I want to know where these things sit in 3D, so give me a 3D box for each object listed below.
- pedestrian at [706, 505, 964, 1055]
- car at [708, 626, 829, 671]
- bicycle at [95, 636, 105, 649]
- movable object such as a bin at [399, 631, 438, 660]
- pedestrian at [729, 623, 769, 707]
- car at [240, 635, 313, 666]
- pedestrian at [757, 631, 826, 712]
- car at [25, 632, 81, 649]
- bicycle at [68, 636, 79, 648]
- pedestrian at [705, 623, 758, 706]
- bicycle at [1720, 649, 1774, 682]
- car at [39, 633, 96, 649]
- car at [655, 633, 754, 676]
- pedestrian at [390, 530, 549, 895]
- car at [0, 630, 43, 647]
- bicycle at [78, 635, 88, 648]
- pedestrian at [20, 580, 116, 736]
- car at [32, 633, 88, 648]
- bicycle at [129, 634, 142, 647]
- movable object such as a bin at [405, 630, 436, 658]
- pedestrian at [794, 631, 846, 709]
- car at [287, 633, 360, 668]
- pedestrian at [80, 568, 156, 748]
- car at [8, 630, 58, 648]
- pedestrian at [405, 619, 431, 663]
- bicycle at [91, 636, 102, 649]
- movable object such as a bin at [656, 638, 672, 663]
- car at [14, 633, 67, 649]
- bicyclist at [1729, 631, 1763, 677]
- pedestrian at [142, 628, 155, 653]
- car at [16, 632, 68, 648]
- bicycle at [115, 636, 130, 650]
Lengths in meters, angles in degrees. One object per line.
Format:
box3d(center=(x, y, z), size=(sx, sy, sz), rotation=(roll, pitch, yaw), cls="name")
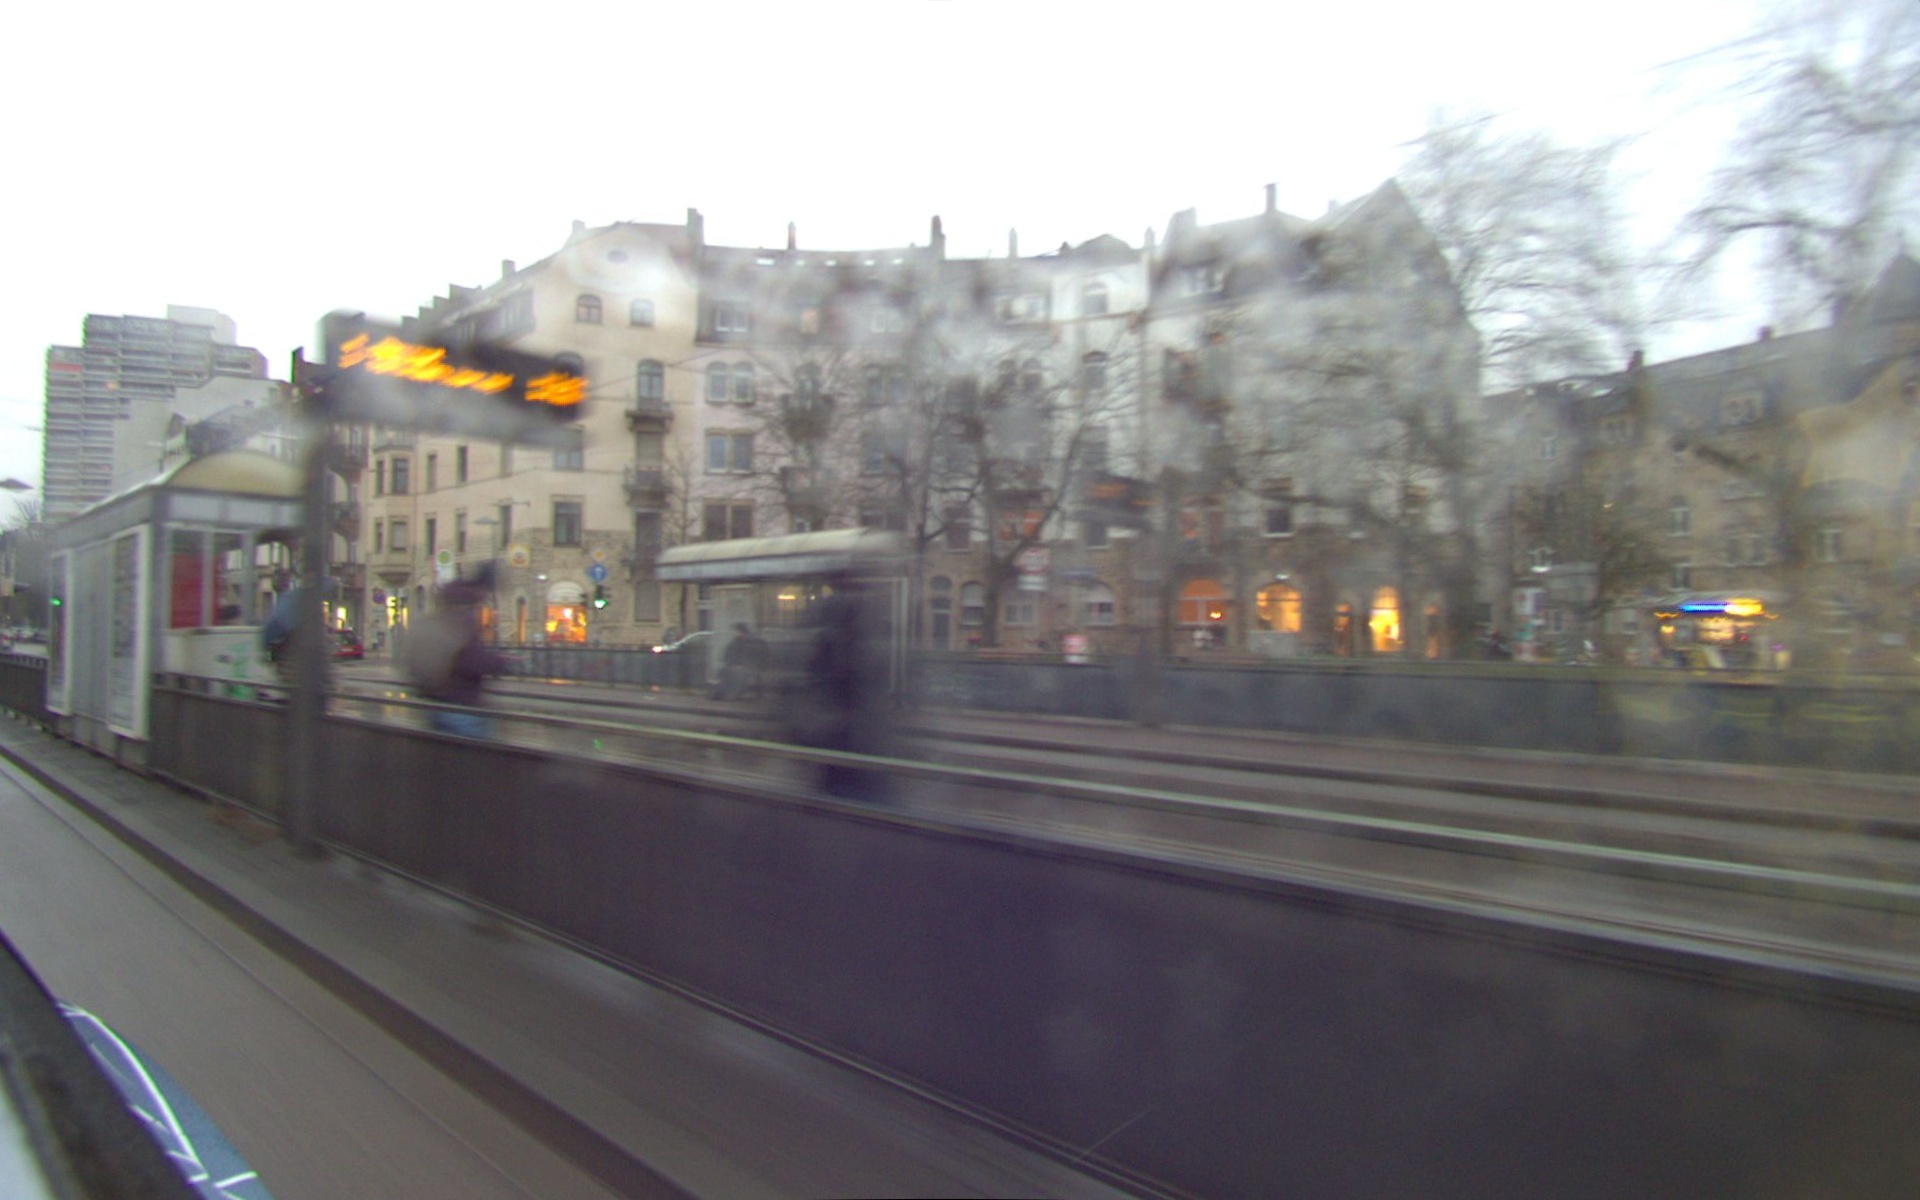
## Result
box3d(center=(-0.438, 0.560, 3.600), size=(0.571, 1.721, 0.650), rotation=(-2, 0, 42), cls="pedestrian")
box3d(center=(-7.178, 1.804, 37.831), size=(4.269, 1.595, 1.943), rotation=(1, -2, -16), cls="car")
box3d(center=(-69.144, 3.443, 81.348), size=(1.605, 1.014, 0.429), rotation=(-1, 0, 43), cls="bicycle")
box3d(center=(-27.537, 2.291, 51.464), size=(1.280, 1.382, 1.335), rotation=(-2, 0, 40), cls="movable object such as a bin")
box3d(center=(-3.680, 1.117, 17.662), size=(0.453, 1.414, 0.468), rotation=(-2, 0, 41), cls="pedestrian")
box3d(center=(-34.931, 2.552, 51.702), size=(4.502, 1.400, 1.785), rotation=(-1, 0, 38), cls="car")
box3d(center=(-2.828, 1.181, 17.030), size=(0.506, 1.264, 1.045), rotation=(-2, 0, 41), cls="pedestrian")
box3d(center=(-87.570, 3.857, 97.746), size=(1.727, 1.424, 3.790), rotation=(-1, 0, 41), cls="car")
box3d(center=(-78.576, 3.712, 89.695), size=(1.881, 1.014, 0.463), rotation=(-1, 0, 43), cls="bicycle")
box3d(center=(-4.066, 1.124, 17.994), size=(0.578, 1.414, 0.677), rotation=(-2, 0, 41), cls="pedestrian")
box3d(center=(24.230, 2.006, 31.170), size=(1.780, 1.015, 0.494), rotation=(1, -3, -23), cls="bicycle")
box3d(center=(-83.219, 3.819, 94.399), size=(1.727, 1.424, 3.789), rotation=(-2, -2, 41), cls="car")
box3d(center=(-10.334, 2.194, 41.136), size=(3.764, 1.483, 1.617), rotation=(-2, 0, -10), cls="car")
box3d(center=(-2.639, 0.561, 5.453), size=(0.571, 1.821, 0.551), rotation=(-2, 0, 42), cls="pedestrian")
box3d(center=(-105.236, 4.283, 113.210), size=(1.727, 1.730, 3.790), rotation=(-1, 0, 41), cls="car")
box3d(center=(-74.875, 3.549, 86.423), size=(1.881, 1.014, 0.429), rotation=(-1, 0, 43), cls="bicycle")
box3d(center=(-11.719, 0.732, 13.303), size=(0.571, 1.970, 0.844), rotation=(-2, 0, 42), cls="pedestrian")
box3d(center=(-85.342, 3.859, 96.029), size=(1.727, 1.424, 3.789), rotation=(-2, -3, 41), cls="car")
box3d(center=(-59.706, 2.952, 73.288), size=(0.523, 0.896, 2.210), rotation=(-2, 0, -44), cls="bicycle")
box3d(center=(-28.174, 2.304, 52.814), size=(1.273, 1.382, 0.991), rotation=(-2, 0, 40), cls="movable object such as a bin")
box3d(center=(-2.302, 1.143, 16.686), size=(0.517, 1.227, 0.646), rotation=(-2, 0, 41), cls="pedestrian")
box3d(center=(-30.612, 2.404, 48.672), size=(3.671, 1.528, 1.658), rotation=(-2, 0, 35), cls="car")
box3d(center=(-9.688, 0.646, 11.645), size=(0.571, 2.002, 0.551), rotation=(-2, 0, 42), cls="pedestrian")
box3d(center=(-99.867, 4.200, 109.063), size=(1.727, 1.730, 3.790), rotation=(-2, 0, 41), cls="car")
box3d(center=(-23.878, 1.792, 44.596), size=(0.785, 1.892, 0.897), rotation=(-2, 0, -13), cls="pedestrian")
box3d(center=(-70.464, 3.459, 82.608), size=(1.881, 1.014, 0.429), rotation=(-2, -3, 43), cls="bicycle")
box3d(center=(-13.645, 2.308, 46.699), size=(0.638, 1.144, 0.693), rotation=(1, -2, -12), cls="movable object such as a bin")
box3d(center=(-92.102, 4.050, 101.396), size=(1.727, 1.424, 3.790), rotation=(-2, 0, 41), cls="car")
box3d(center=(24.230, 1.646, 31.204), size=(0.752, 1.374, 0.532), rotation=(-1, 0, -24), cls="bicyclist")
box3d(center=(-54.424, 2.692, 67.893), size=(0.448, 1.654, 0.567), rotation=(-2, 0, 38), cls="pedestrian")
box3d(center=(-95.077, 4.152, 104.814), size=(1.727, 1.424, 3.790), rotation=(-1, 0, 41), cls="car")
box3d(center=(-63.615, 3.224, 76.863), size=(2.209, 1.014, 0.517), rotation=(-1, 0, 43), cls="bicycle")
